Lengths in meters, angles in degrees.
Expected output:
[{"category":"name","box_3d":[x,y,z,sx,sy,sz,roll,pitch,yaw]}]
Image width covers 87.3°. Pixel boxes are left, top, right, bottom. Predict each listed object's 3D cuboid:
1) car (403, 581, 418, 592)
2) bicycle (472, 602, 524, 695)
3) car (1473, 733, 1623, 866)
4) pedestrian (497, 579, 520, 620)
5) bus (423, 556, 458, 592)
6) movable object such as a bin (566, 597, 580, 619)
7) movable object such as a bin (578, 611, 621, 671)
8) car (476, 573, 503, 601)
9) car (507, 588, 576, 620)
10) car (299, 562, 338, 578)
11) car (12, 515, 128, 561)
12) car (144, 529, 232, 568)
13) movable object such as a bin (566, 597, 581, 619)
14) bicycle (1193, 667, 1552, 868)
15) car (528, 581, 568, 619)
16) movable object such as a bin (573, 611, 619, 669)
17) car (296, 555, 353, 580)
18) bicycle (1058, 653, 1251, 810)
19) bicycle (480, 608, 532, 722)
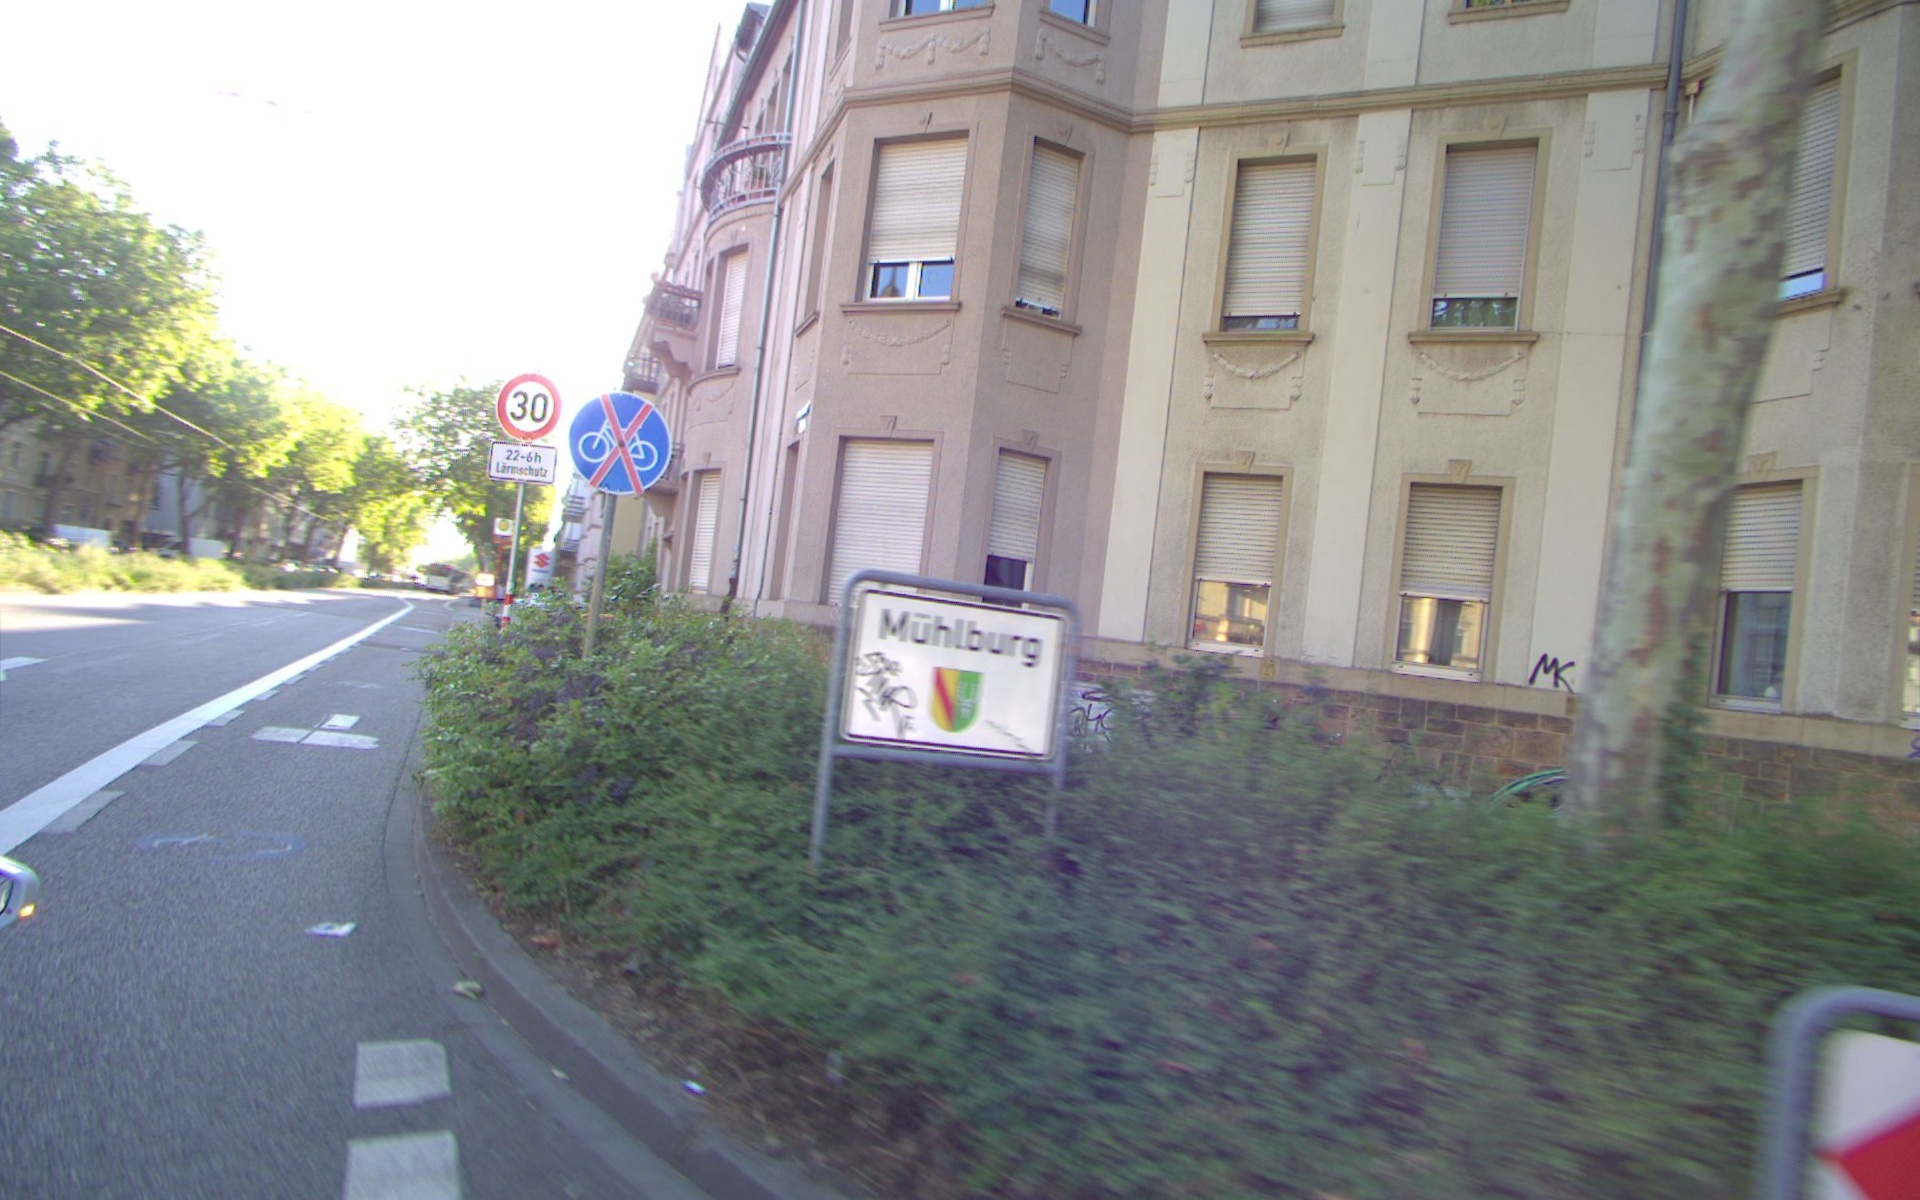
[{"category":"car","box_3d":[-103.780,-2.523,190.013,1.852,1.712,4.752,8,-3,-24]},{"category":"bicycle","box_3d":[-6.327,0.627,13.742,0.433,1.111,1.920,7,-2,-27]},{"category":"car","box_3d":[5.538,1.855,9.558,1.045,0.961,0.925,5,2,24]},{"category":"pedestrian","box_3d":[-21.928,-0.018,48.860,0.821,1.833,1.144,7,-2,-25]},{"category":"bus","box_3d":[-56.858,-2.774,110.295,2.808,3.271,8.138,8,-3,-26]},{"category":"movable object such as a bin","box_3d":[-18.426,0.398,47.894,0.548,0.980,0.582,7,-2,-22]},{"category":"movable object such as a bin","box_3d":[-6.850,0.773,19.131,0.561,1.058,0.658,7,-2,-11]},{"category":"car","box_3d":[-44.143,-1.176,94.384,1.975,2.282,5.209,8,-3,-24]},{"category":"car","box_3d":[-26.762,0.266,64.402,3.782,1.518,1.900,8,-1,-29]},{"category":"car","box_3d":[-89.191,-4.200,139.893,1.827,1.719,3.989,5,-2,35]},{"category":"car","box_3d":[-57.195,-3.920,64.789,1.691,2.089,5.248,6,-3,24]},{"category":"car","box_3d":[-67.309,-4.443,87.832,2.088,2.558,5.510,6,-3,24]},{"category":"movable object such as a bin","box_3d":[-18.198,0.376,47.314,0.548,0.980,0.582,7,-2,-22]},{"category":"bicycle","box_3d":[4.064,1.609,10.182,3.100,1.488,0.954,5,-2,22]},{"category":"car","box_3d":[-24.640,0.040,60.322,1.873,1.970,4.882,7,-3,-20]},{"category":"movable object such as a bin","box_3d":[-7.136,0.782,19.761,0.647,1.058,0.658,7,-2,-11]},{"category":"car","box_3d":[-96.765,-4.901,153.301,6.923,2.707,2.159,10,-4,-44]},{"category":"bicycle","box_3d":[2.111,1.402,11.021,1.897,1.411,0.371,6,-1,24]},{"category":"bicycle","box_3d":[-4.955,0.668,11.009,0.366,1.081,1.864,7,-2,-24]}]
